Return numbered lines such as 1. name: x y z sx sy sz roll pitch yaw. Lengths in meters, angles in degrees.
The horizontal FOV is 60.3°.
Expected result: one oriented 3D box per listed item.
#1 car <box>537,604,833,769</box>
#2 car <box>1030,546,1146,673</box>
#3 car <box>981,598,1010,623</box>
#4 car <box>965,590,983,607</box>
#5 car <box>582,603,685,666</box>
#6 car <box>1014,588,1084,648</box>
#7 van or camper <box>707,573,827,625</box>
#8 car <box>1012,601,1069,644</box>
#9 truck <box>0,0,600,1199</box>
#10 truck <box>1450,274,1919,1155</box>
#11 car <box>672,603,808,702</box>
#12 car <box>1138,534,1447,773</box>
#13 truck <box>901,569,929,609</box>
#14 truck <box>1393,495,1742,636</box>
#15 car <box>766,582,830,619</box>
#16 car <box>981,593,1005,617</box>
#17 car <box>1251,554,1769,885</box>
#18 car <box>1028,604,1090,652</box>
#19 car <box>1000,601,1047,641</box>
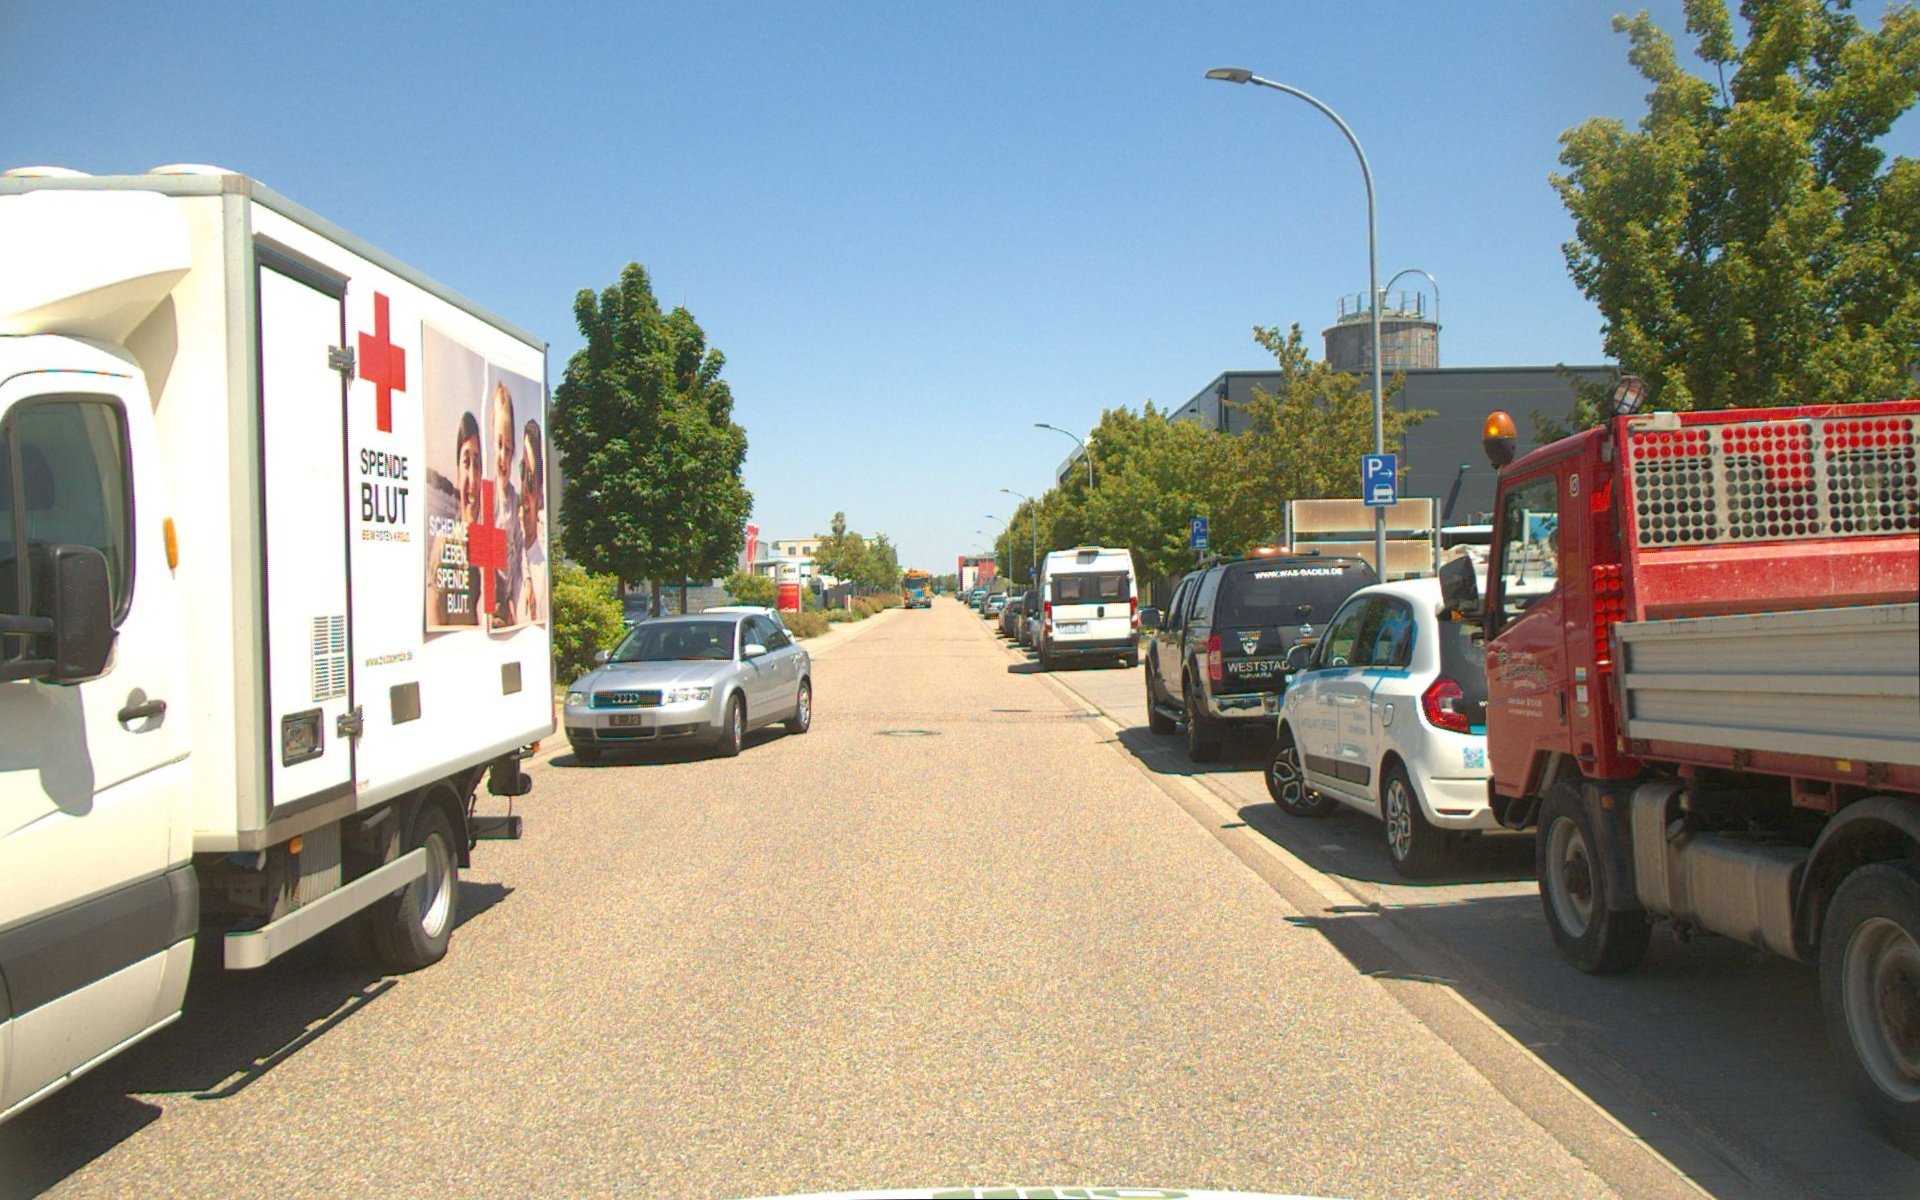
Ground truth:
1. car: -2.797 0.833 17.928 1.745 1.447 4.417 -3 0 10
2. car: 2.780 0.199 37.396 2.220 2.541 6.153 -2 0 1
3. car: 2.206 0.623 103.494 1.683 1.475 3.645 -2 0 -1
4. car: 1.276 -0.152 150.693 1.553 1.434 3.499 -1 0 -1
5. car: -10.024 1.009 51.143 1.952 1.765 4.915 0 1 3
6. car: 2.873 0.584 54.361 1.953 1.857 4.353 -2 0 -1
7. van or camper: -12.243 -0.095 105.328 7.235 3.090 2.789 -1 0 -2
8. car: 2.922 0.823 60.859 1.813 1.456 4.712 -2 0 0
9. truck: -3.135 0.075 5.559 2.313 2.909 6.414 -3 0 0
10. truck: 3.203 0.269 5.560 1.645 2.219 4.389 -3 0 -1
11. car: -3.565 0.814 27.485 1.694 1.484 4.491 -1 0 -1
12. car: 3.065 0.454 16.439 1.953 1.917 5.155 -2 0 0
13. truck: -4.290 -1.076 159.248 2.399 3.574 8.271 -2 0 -1
14. truck: 18.488 -1.057 50.498 9.800 3.889 3.029 -2 0 -11
15. car: -11.885 0.041 121.662 4.622 2.631 1.998 -1 0 -5
16. car: 2.418 0.346 121.554 1.686 1.724 3.984 -1 0 0
17. car: 3.106 0.600 10.268 1.703 1.557 3.998 -3 0 -2
18. car: 2.917 0.831 49.313 1.676 1.310 4.115 -2 -1 1
19. car: 2.603 0.822 66.681 1.673 1.531 4.708 -2 0 4
